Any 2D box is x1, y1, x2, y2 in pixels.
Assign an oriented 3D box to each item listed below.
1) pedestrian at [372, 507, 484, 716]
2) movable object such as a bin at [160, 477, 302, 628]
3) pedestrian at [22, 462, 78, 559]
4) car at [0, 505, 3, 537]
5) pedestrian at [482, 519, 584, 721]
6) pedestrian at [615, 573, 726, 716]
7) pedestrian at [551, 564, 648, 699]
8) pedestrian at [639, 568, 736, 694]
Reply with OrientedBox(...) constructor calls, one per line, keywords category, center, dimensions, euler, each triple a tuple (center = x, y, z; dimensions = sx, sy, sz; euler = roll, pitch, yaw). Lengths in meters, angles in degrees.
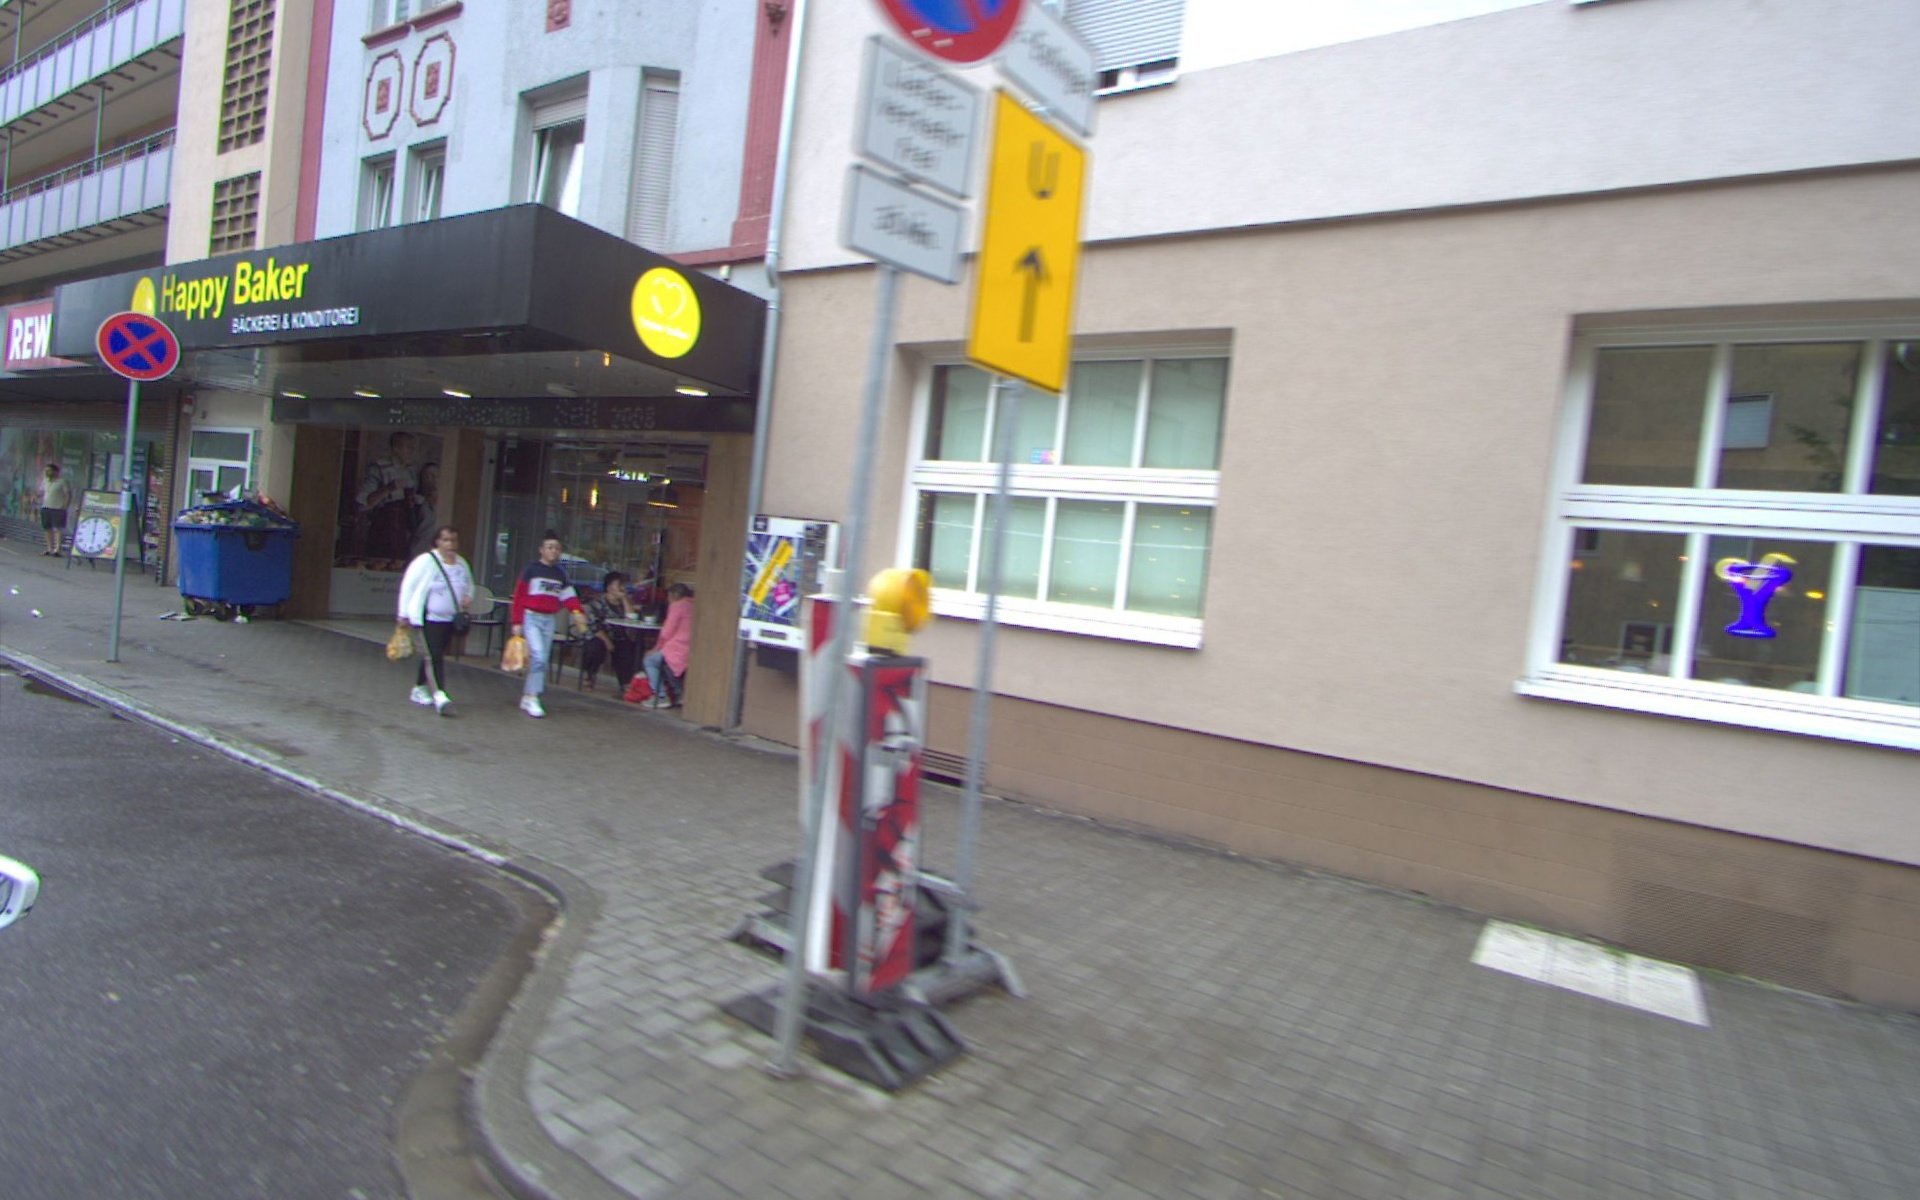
OrientedBox(category="pedestrian", center=(-4.505, 0.089, 8.567), dimensions=(0.694, 1.670, 0.778), euler=(4, 4, -23))
OrientedBox(category="movable object such as a bin", center=(-9.562, -0.611, 13.197), dimensions=(1.274, 1.816, 1.000), euler=(6, 2, 31))
OrientedBox(category="pedestrian", center=(-18.516, -1.821, 20.462), dimensions=(0.716, 1.882, 0.596), euler=(6, 1, 36))
OrientedBox(category="car", center=(-12.294, -0.598, 11.040), dimensions=(3.705, 1.326, 1.736), euler=(7, 1, 33))
OrientedBox(category="pedestrian", center=(-3.738, 0.158, 8.829), dimensions=(0.694, 1.670, 0.778), euler=(4, 4, -23))
OrientedBox(category="pedestrian", center=(-2.802, 0.416, 9.748), dimensions=(0.648, 1.275, 0.701), euler=(7, 4, 33))
OrientedBox(category="pedestrian", center=(-3.669, 0.308, 10.235), dimensions=(0.649, 1.275, 0.621), euler=(8, 4, 41))
OrientedBox(category="pedestrian", center=(-2.979, 0.332, 11.015), dimensions=(0.648, 1.275, 0.701), euler=(7, 4, 33))
